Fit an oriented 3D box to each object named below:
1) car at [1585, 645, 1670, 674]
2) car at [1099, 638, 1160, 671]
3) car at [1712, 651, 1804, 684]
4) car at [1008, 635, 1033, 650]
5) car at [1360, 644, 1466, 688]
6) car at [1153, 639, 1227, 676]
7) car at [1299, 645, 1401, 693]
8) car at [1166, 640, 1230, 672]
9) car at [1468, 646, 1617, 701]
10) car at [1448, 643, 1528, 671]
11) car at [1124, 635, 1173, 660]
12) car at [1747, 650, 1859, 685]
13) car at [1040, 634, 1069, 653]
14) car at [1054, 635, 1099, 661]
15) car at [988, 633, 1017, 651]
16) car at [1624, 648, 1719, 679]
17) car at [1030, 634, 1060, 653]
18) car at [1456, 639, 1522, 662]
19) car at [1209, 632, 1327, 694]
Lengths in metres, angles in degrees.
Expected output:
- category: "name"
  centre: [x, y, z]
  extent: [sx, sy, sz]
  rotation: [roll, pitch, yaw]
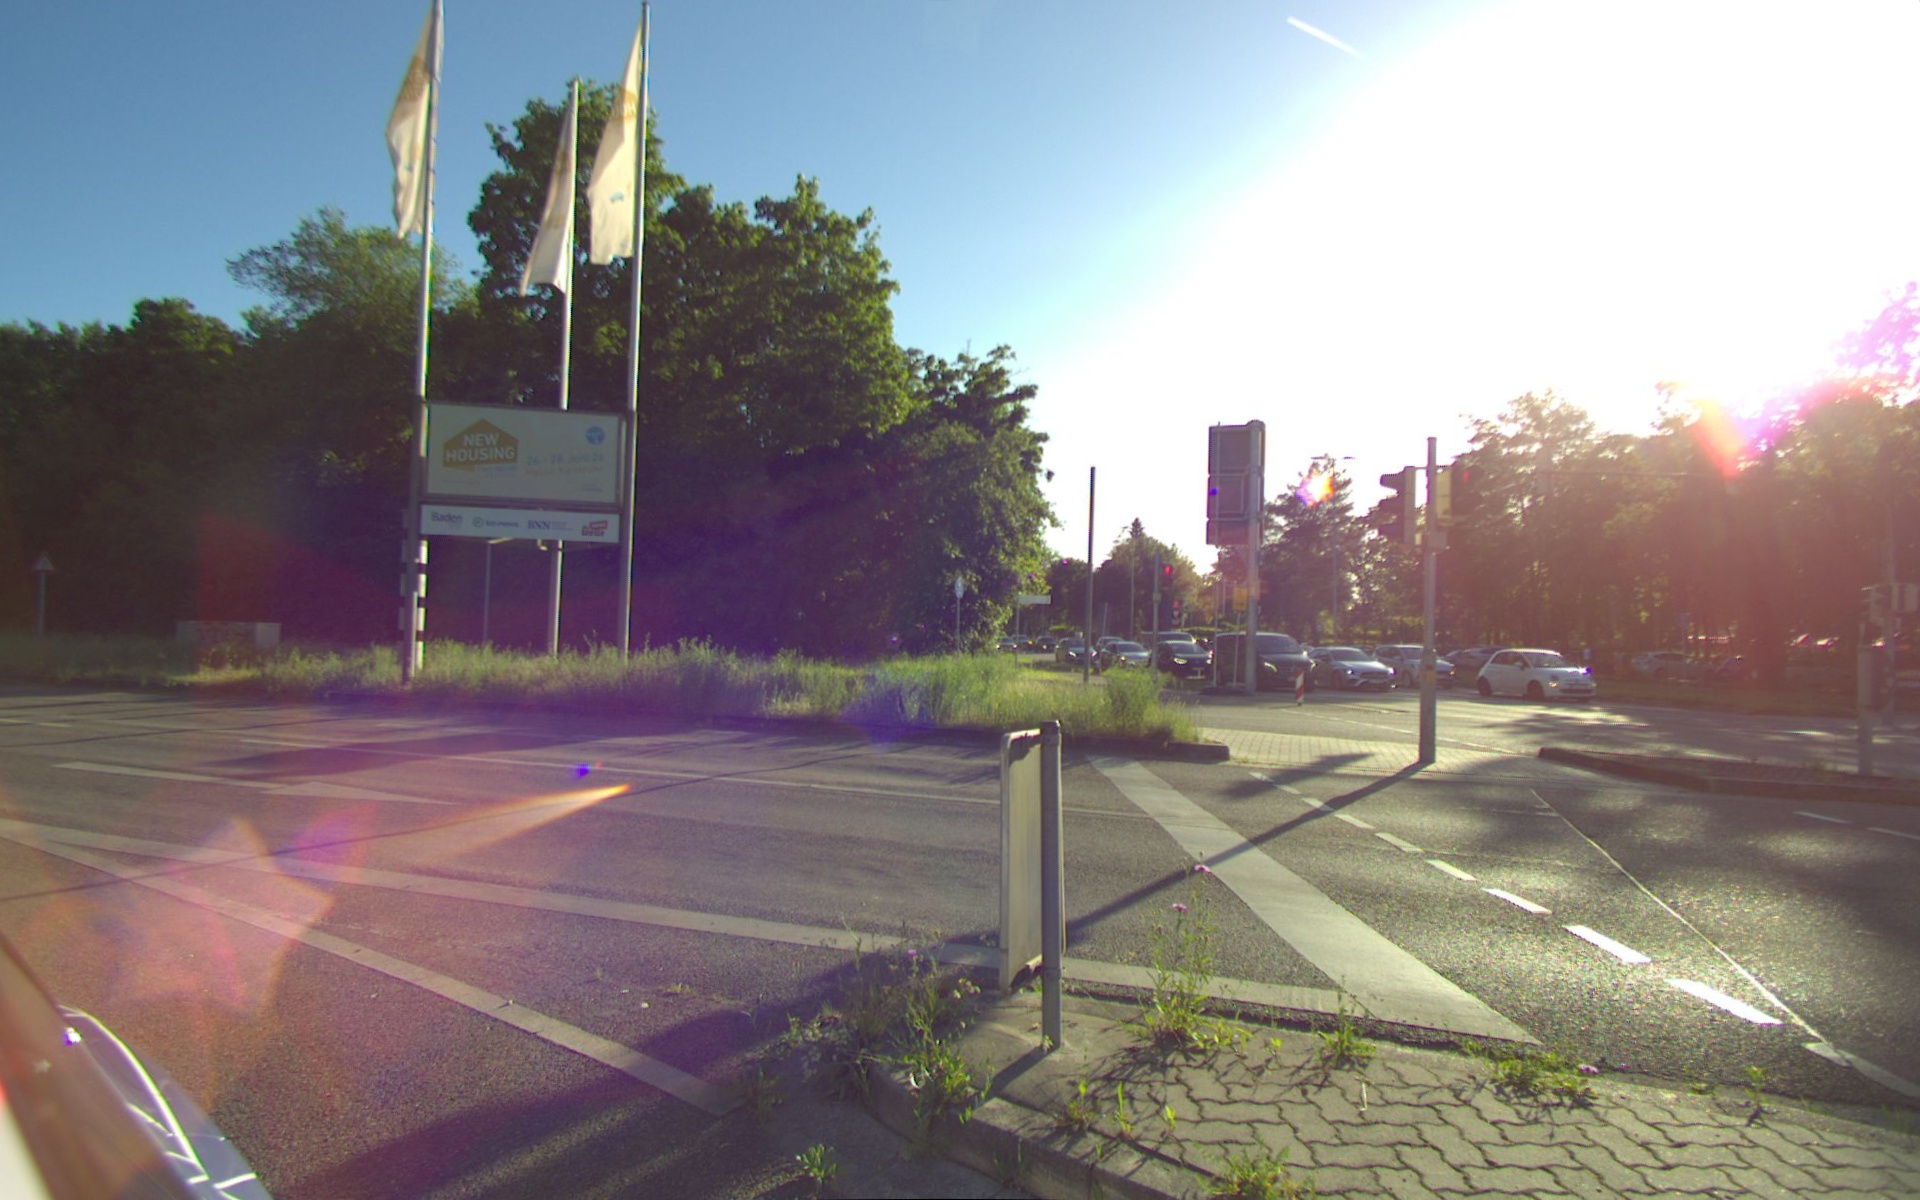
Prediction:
- category: "car"
  centre: [40.617, 3.586, 61.669]
  extent: [3.923, 1.612, 1.810]
  rotation: [1, -2, 7]
- category: "car"
  centre: [8.000, 2.568, 48.071]
  extent: [1.825, 1.400, 3.804]
  rotation: [2, -2, -6]
- category: "car"
  centre: [42.077, 3.532, 53.397]
  extent: [3.450, 1.612, 1.815]
  rotation: [1, -2, -3]
- category: "car"
  centre: [6.564, 4.592, 110.094]
  extent: [1.744, 1.464, 4.009]
  rotation: [2, -2, -11]
- category: "car"
  centre: [16.298, 2.361, 36.610]
  extent: [1.825, 1.400, 3.804]
  rotation: [2, -2, -6]
- category: "car"
  centre: [9.454, 2.354, 41.861]
  extent: [1.825, 1.400, 3.804]
  rotation: [2, -2, -6]
- category: "car"
  centre: [13.014, 2.276, 34.018]
  extent: [1.622, 1.400, 3.804]
  rotation: [2, -2, -6]
- category: "car"
  centre: [11.500, 2.688, 49.061]
  extent: [1.825, 1.400, 3.804]
  rotation: [2, -2, -6]
- category: "car"
  centre: [17.003, 2.113, 29.764]
  extent: [1.899, 1.400, 3.804]
  rotation: [2, -2, -6]
- category: "car"
  centre: [32.949, 3.557, 63.196]
  extent: [3.948, 1.631, 1.941]
  rotation: [1, -2, 4]
- category: "car"
  centre: [11.095, 2.790, 59.774]
  extent: [1.825, 1.400, 3.804]
  rotation: [2, -2, -6]
- category: "car"
  centre: [42.310, 3.377, 50.834]
  extent: [4.134, 1.612, 1.815]
  rotation: [1, -2, -3]
- category: "car"
  centre: [9.401, 4.330, 101.262]
  extent: [1.738, 1.783, 4.010]
  rotation: [2, -2, -13]
- category: "car"
  centre: [6.821, 2.808, 59.765]
  extent: [1.825, 1.400, 3.804]
  rotation: [2, -2, -6]
- category: "car"
  centre: [3.497, 3.446, 84.223]
  extent: [1.825, 1.400, 3.804]
  rotation: [2, -2, -6]
- category: "car"
  centre: [41.039, 3.649, 58.433]
  extent: [4.101, 1.612, 1.810]
  rotation: [1, -2, 7]
- category: "car"
  centre: [8.137, 4.173, 96.995]
  extent: [1.744, 1.689, 4.009]
  rotation: [2, -2, -11]
- category: "car"
  centre: [39.358, 3.737, 75.333]
  extent: [3.923, 1.612, 1.810]
  rotation: [1, -2, 7]
- category: "car"
  centre: [10.011, 2.000, 33.373]
  extent: [1.899, 1.844, 4.940]
  rotation: [2, -2, -6]
